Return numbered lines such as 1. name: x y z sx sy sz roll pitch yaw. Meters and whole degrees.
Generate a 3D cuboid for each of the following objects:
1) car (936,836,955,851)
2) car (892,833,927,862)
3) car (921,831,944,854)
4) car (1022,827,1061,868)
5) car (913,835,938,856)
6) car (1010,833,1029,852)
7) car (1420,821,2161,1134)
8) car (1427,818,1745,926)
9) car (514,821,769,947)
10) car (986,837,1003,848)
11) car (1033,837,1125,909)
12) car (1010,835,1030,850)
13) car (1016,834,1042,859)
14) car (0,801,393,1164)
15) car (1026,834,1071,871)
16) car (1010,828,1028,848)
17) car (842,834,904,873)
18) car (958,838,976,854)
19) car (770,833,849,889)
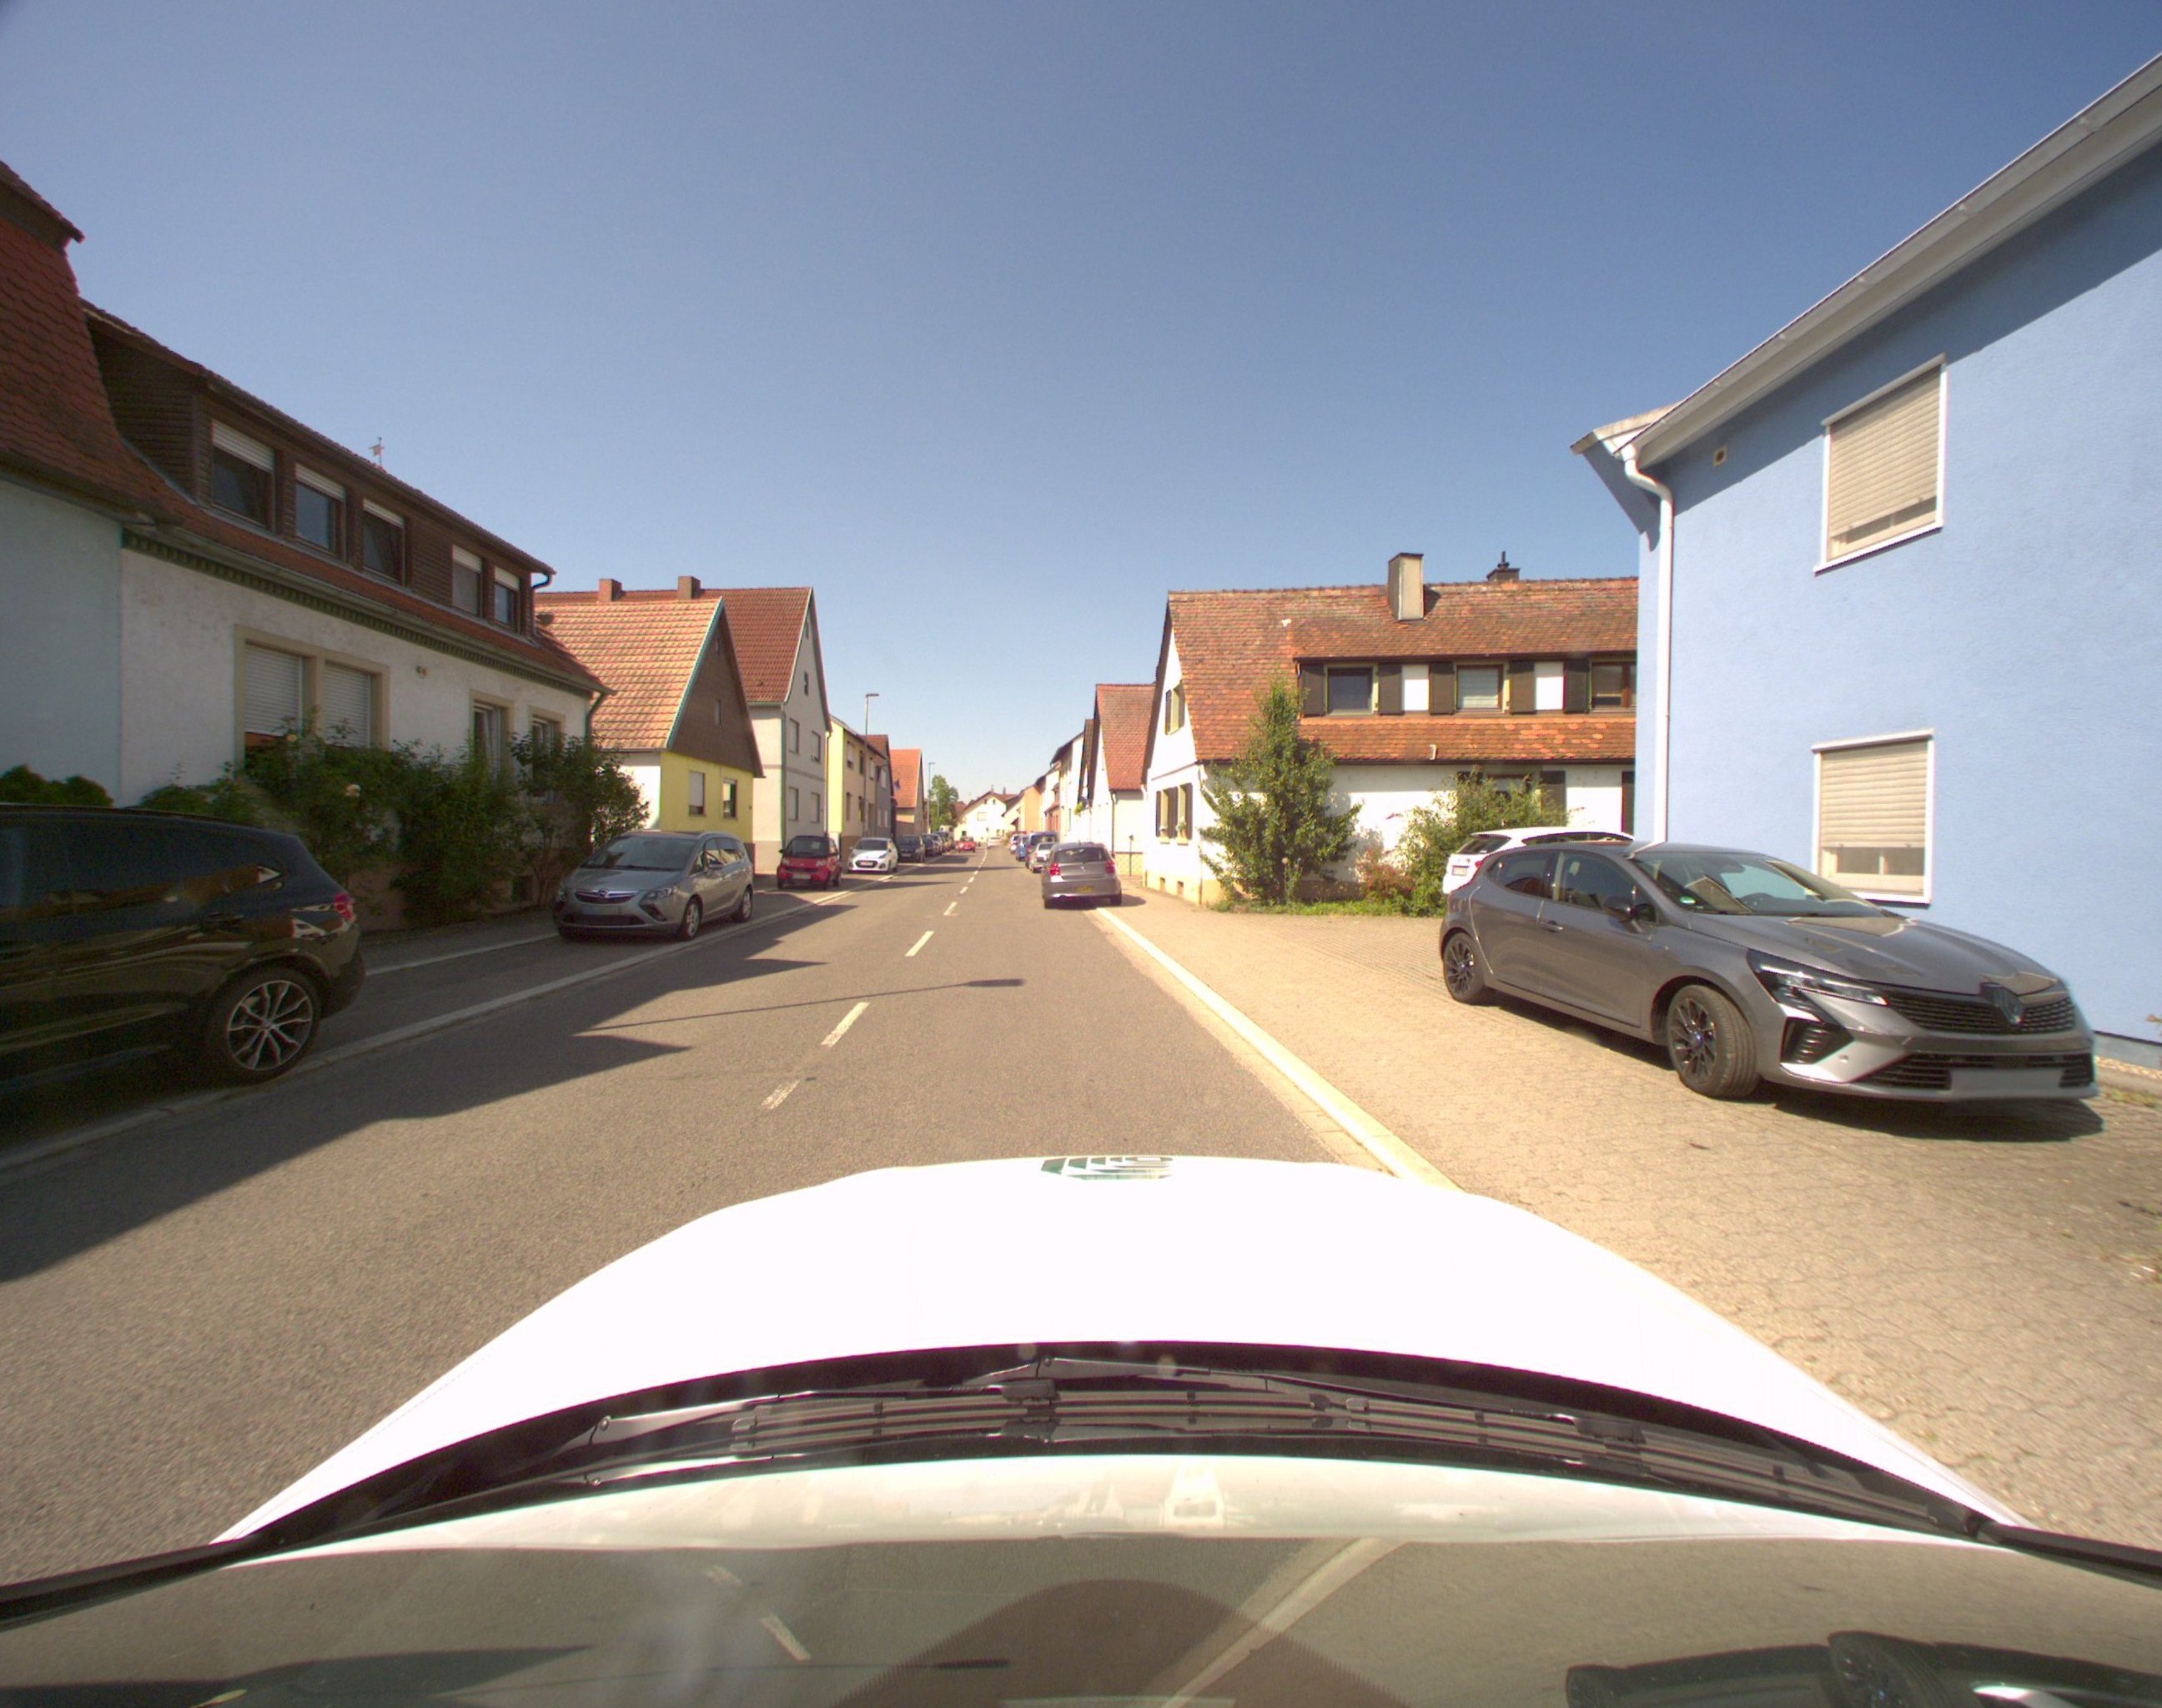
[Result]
1. car: -12.859 -1.033 77.243 1.525 1.355 3.618 1 1 -7
2. car: -9.994 -0.388 47.743 1.617 1.577 3.953 1 1 -7
3. car: -11.685 -0.914 64.271 1.525 1.713 3.618 1 1 -7
4. car: -2.004 -0.337 40.622 1.647 1.909 3.618 1 1 -7
5. car: -11.361 -0.628 59.592 1.502 1.453 3.502 0 1 -6
6. car: -5.234 -0.997 69.056 1.419 1.515 3.297 1 1 -7
7. car: 4.181 0.553 5.802 1.685 1.420 4.142 1 1 -2
8. car: 8.168 0.275 13.451 4.161 1.657 1.812 0 0 0
9. car: -6.696 0.367 13.115 1.870 1.636 4.656 1 1 -5
10. car: -10.103 -1.313 95.174 1.991 1.288 3.992 0 1 -6
11. car: -0.154 0.360 18.979 1.703 1.433 3.881 -2 1 -6
12. car: -5.771 -1.089 76.893 1.764 1.433 3.444 0 1 -5
13. car: -3.320 -0.478 51.453 1.419 1.515 3.297 1 1 -7
14. car: -5.871 0.552 3.521 1.916 1.667 4.660 2 0 -3
15. car: -1.478 -0.073 35.614 1.703 1.496 3.445 1 1 -7
16. car: -6.276 -1.595 82.073 1.764 2.004 3.444 0 1 -5
17. car: -8.835 -0.047 34.897 1.803 1.547 4.396 1 1 -5
18. car: -10.663 -0.766 76.411 1.599 1.489 3.618 1 1 -7
19. car: -8.124 0.173 24.594 1.550 1.544 2.983 1 1 -5
